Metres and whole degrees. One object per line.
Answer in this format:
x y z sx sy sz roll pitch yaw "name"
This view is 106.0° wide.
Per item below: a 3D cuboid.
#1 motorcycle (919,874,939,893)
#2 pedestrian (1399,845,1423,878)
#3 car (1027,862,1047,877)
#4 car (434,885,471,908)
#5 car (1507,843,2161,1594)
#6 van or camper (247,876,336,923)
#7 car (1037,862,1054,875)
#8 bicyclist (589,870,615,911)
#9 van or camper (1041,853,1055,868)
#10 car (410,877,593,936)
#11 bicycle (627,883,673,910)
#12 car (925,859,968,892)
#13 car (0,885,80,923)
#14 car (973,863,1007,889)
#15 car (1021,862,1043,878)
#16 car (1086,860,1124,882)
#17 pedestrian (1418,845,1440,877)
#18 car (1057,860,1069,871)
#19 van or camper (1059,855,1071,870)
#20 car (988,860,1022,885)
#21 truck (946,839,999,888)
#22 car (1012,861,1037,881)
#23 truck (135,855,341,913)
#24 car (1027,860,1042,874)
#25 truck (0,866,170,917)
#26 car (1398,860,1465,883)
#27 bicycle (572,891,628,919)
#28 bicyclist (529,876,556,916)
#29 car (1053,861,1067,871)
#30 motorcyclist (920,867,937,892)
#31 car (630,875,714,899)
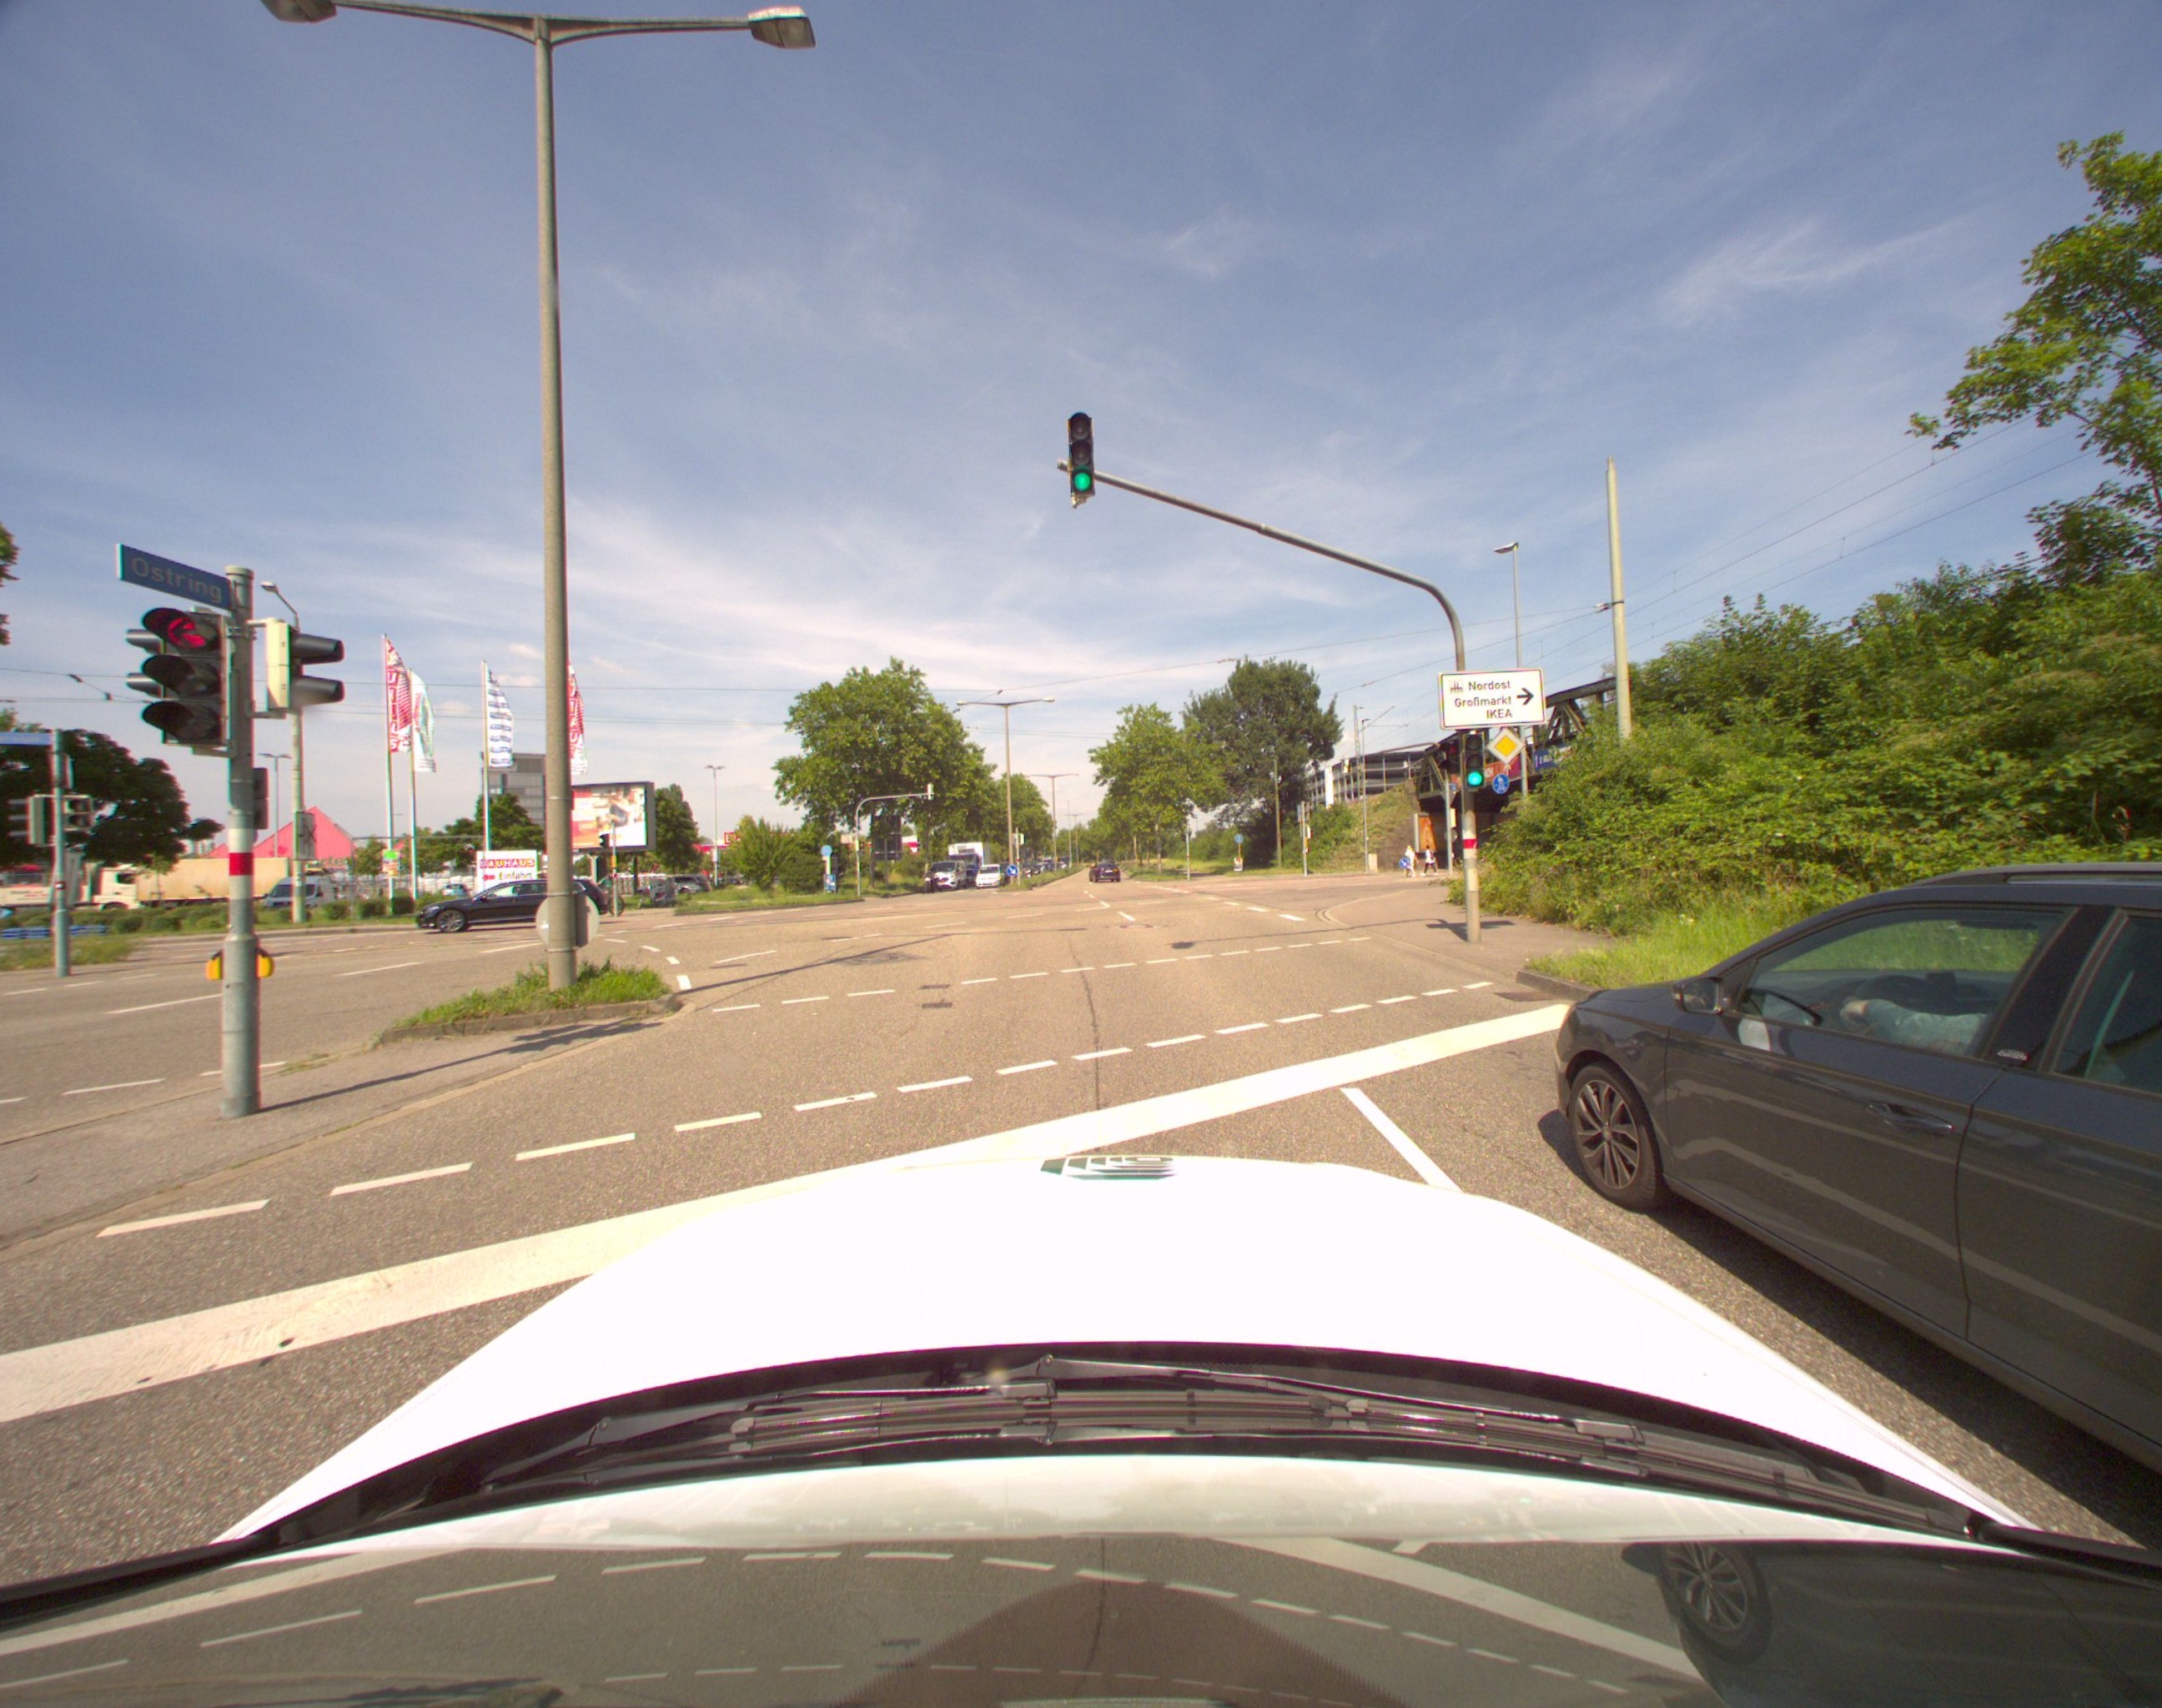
-9.030 1.745 48.475 0.685 0.991 2.218 -2 0 2 "motorcycle"
16.603 0.357 40.975 0.865 1.611 0.778 -2 -1 1 "pedestrian"
-4.570 1.610 85.114 1.682 1.472 3.816 -3 0 2 "car"
-45.842 3.071 59.462 1.829 1.572 4.234 -2 -1 -34 "car"
2.942 0.698 2.131 1.668 1.453 4.038 -1 0 2 "car"
-41.036 2.301 42.496 2.204 2.210 5.462 -2 -1 -32 "van or camper"
-4.238 1.712 97.809 1.778 1.489 4.211 -3 0 1 "car"
-17.855 1.366 30.344 0.523 1.491 0.612 -2 -1 17 "bicyclist"
-5.921 1.169 147.346 2.007 2.587 5.519 -3 0 2 "van or camper"
-17.145 1.496 24.365 4.234 1.443 1.773 -2 0 -29 "car"
-18.779 1.839 35.552 0.590 1.037 1.903 -2 -1 16 "bicycle"
-8.770 1.379 53.610 1.970 1.999 5.030 -2 0 -1 "car"
-77.031 3.634 59.824 2.396 2.529 6.066 -2 -1 -31 "car"
-5.847 1.397 52.849 1.587 1.477 3.731 -3 0 2 "car"
-4.773 1.540 79.478 1.682 1.473 4.220 -4 0 2 "car"
1.691 1.190 58.120 1.907 1.463 4.607 -2 0 -8 "car"
17.567 0.350 41.144 0.726 1.579 0.778 -2 -1 1 "pedestrian"
-2.849 1.861 132.006 1.682 1.510 3.816 -3 0 2 "car"
-2.728 1.477 140.954 1.932 2.368 5.397 -3 -1 0 "van or camper"
-5.411 1.315 58.678 1.813 1.646 4.695 -3 -1 2 "car"
-8.410 0.687 63.899 2.793 3.471 6.693 -4 0 2 "truck"
-4.956 1.465 72.204 1.682 1.586 4.242 -3 0 2 "car"
-55.067 1.879 53.672 8.964 3.311 3.125 -2 -1 -36 "truck"
-6.757 1.924 119.226 1.682 1.858 4.038 -3 -1 2 "car"
-64.674 2.360 51.013 9.655 2.892 2.895 -2 -1 -35 "truck"
24.273 1.209 56.388 4.516 1.409 1.980 -2 -1 -32 "car"
-17.856 1.877 30.291 0.412 0.937 2.007 -2 -1 18 "bicycle"
-19.248 1.492 29.107 0.523 1.414 0.613 -2 -1 24 "bicyclist"
-3.172 1.848 125.431 1.777 1.459 4.473 -3 0 2 "car"
-9.067 1.502 48.571 0.740 1.470 0.988 -2 0 1 "motorcyclist"
-27.774 2.225 55.433 4.556 1.414 2.196 -2 -1 -6 "car"
